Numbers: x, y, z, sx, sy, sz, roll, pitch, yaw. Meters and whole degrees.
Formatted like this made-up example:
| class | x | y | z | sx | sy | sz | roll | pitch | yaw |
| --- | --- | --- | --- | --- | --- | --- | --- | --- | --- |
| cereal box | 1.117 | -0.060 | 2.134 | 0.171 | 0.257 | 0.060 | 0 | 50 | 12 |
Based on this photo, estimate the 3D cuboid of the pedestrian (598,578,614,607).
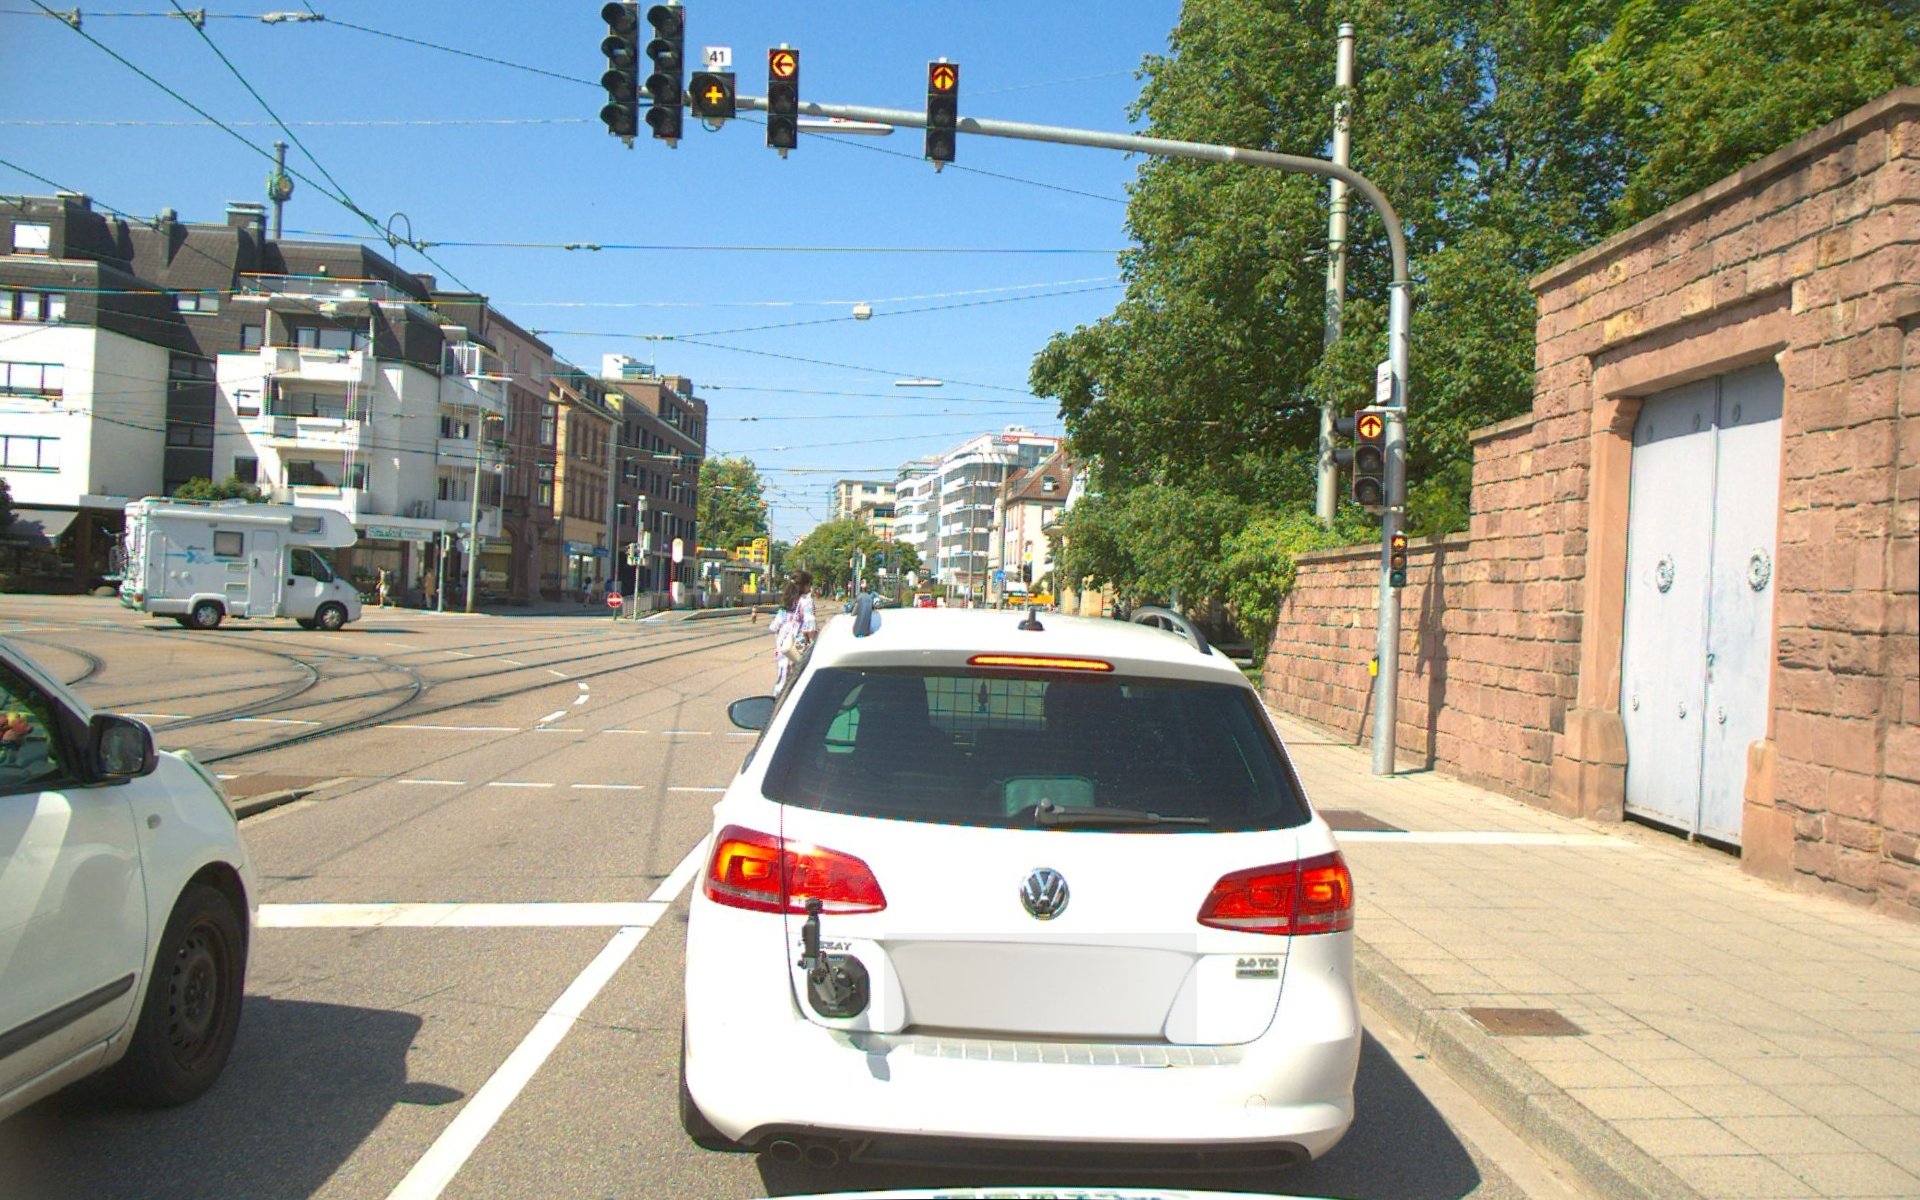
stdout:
| class | x | y | z | sx | sy | sz | roll | pitch | yaw |
| --- | --- | --- | --- | --- | --- | --- | --- | --- | --- |
| pedestrian | -21.648 | -0.439 | 101.068 | 0.845 | 1.773 | 0.973 | 1 | -1 | -6 |

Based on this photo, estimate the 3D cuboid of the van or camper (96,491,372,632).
| class | x | y | z | sx | sy | sz | roll | pitch | yaw |
| --- | --- | --- | --- | --- | --- | --- | --- | --- | --- |
| van or camper | -17.384 | -0.823 | 39.739 | 5.641 | 3.147 | 2.541 | 1 | -1 | -37 |

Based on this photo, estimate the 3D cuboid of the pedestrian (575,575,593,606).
| class | x | y | z | sx | sy | sz | roll | pitch | yaw |
| --- | --- | --- | --- | --- | --- | --- | --- | --- | --- |
| pedestrian | -21.524 | -0.530 | 94.749 | 0.845 | 1.773 | 0.973 | 1 | -1 | -6 |

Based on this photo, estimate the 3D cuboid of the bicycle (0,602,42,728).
| class | x | y | z | sx | sy | sz | roll | pitch | yaw |
| --- | --- | --- | --- | --- | --- | --- | --- | --- | --- |
| bicycle | -9.513 | 0.557 | 14.937 | 1.986 | 1.109 | 0.707 | 2 | 1 | -16 |

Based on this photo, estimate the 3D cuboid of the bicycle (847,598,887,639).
| class | x | y | z | sx | sy | sz | roll | pitch | yaw |
| --- | --- | --- | --- | --- | --- | --- | --- | --- | --- |
| bicycle | -3.099 | 0.624 | 55.278 | 0.546 | 1.320 | 2.250 | 0 | -1 | 19 |

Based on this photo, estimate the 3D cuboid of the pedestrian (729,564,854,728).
| class | x | y | z | sx | sy | sz | roll | pitch | yaw |
| --- | --- | --- | --- | --- | --- | --- | --- | --- | --- |
| pedestrian | -1.799 | 0.482 | 17.662 | 0.967 | 1.680 | 0.941 | 1 | -1 | -42 |

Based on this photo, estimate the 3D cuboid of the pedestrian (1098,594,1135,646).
| class | x | y | z | sx | sy | sz | roll | pitch | yaw |
| --- | --- | --- | --- | --- | --- | --- | --- | --- | --- |
| pedestrian | 5.430 | 0.691 | 57.399 | 0.956 | 1.773 | 0.860 | 0 | -1 | 38 |

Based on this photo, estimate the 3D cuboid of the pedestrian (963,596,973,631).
| class | x | y | z | sx | sy | sz | roll | pitch | yaw |
| --- | --- | --- | --- | --- | --- | --- | --- | --- | --- |
| pedestrian | 0.570 | 0.938 | 115.203 | 0.675 | 2.366 | 1.232 | 0 | -1 | 0 |

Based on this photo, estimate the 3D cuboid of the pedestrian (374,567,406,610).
| class | x | y | z | sx | sy | sz | roll | pitch | yaw |
| --- | --- | --- | --- | --- | --- | --- | --- | --- | --- |
| pedestrian | -23.746 | -0.482 | 68.910 | 0.967 | 1.773 | 0.850 | 1 | -1 | -44 |

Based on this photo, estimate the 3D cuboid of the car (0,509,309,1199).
| class | x | y | z | sx | sy | sz | roll | pitch | yaw |
| --- | --- | --- | --- | --- | --- | --- | --- | --- | --- |
| car | -2.838 | 0.598 | 3.316 | 1.608 | 1.593 | 3.803 | 1 | 1 | -1 |

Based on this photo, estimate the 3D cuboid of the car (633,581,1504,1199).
| class | x | y | z | sx | sy | sz | roll | pitch | yaw |
| --- | --- | --- | --- | --- | --- | --- | --- | --- | --- |
| car | 0.192 | 0.719 | 5.428 | 1.771 | 1.473 | 3.999 | 2 | 0 | -1 |

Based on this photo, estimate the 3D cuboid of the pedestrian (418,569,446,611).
| class | x | y | z | sx | sy | sz | roll | pitch | yaw |
| --- | --- | --- | --- | --- | --- | --- | --- | --- | --- |
| pedestrian | -22.907 | -0.425 | 71.817 | 0.963 | 1.773 | 0.855 | 1 | -1 | -33 |

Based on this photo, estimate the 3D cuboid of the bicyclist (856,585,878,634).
| class | x | y | z | sx | sy | sz | roll | pitch | yaw |
| --- | --- | --- | --- | --- | --- | --- | --- | --- | --- |
| bicyclist | -3.106 | 0.325 | 55.277 | 0.549 | 1.641 | 0.638 | 0 | -1 | 19 |
